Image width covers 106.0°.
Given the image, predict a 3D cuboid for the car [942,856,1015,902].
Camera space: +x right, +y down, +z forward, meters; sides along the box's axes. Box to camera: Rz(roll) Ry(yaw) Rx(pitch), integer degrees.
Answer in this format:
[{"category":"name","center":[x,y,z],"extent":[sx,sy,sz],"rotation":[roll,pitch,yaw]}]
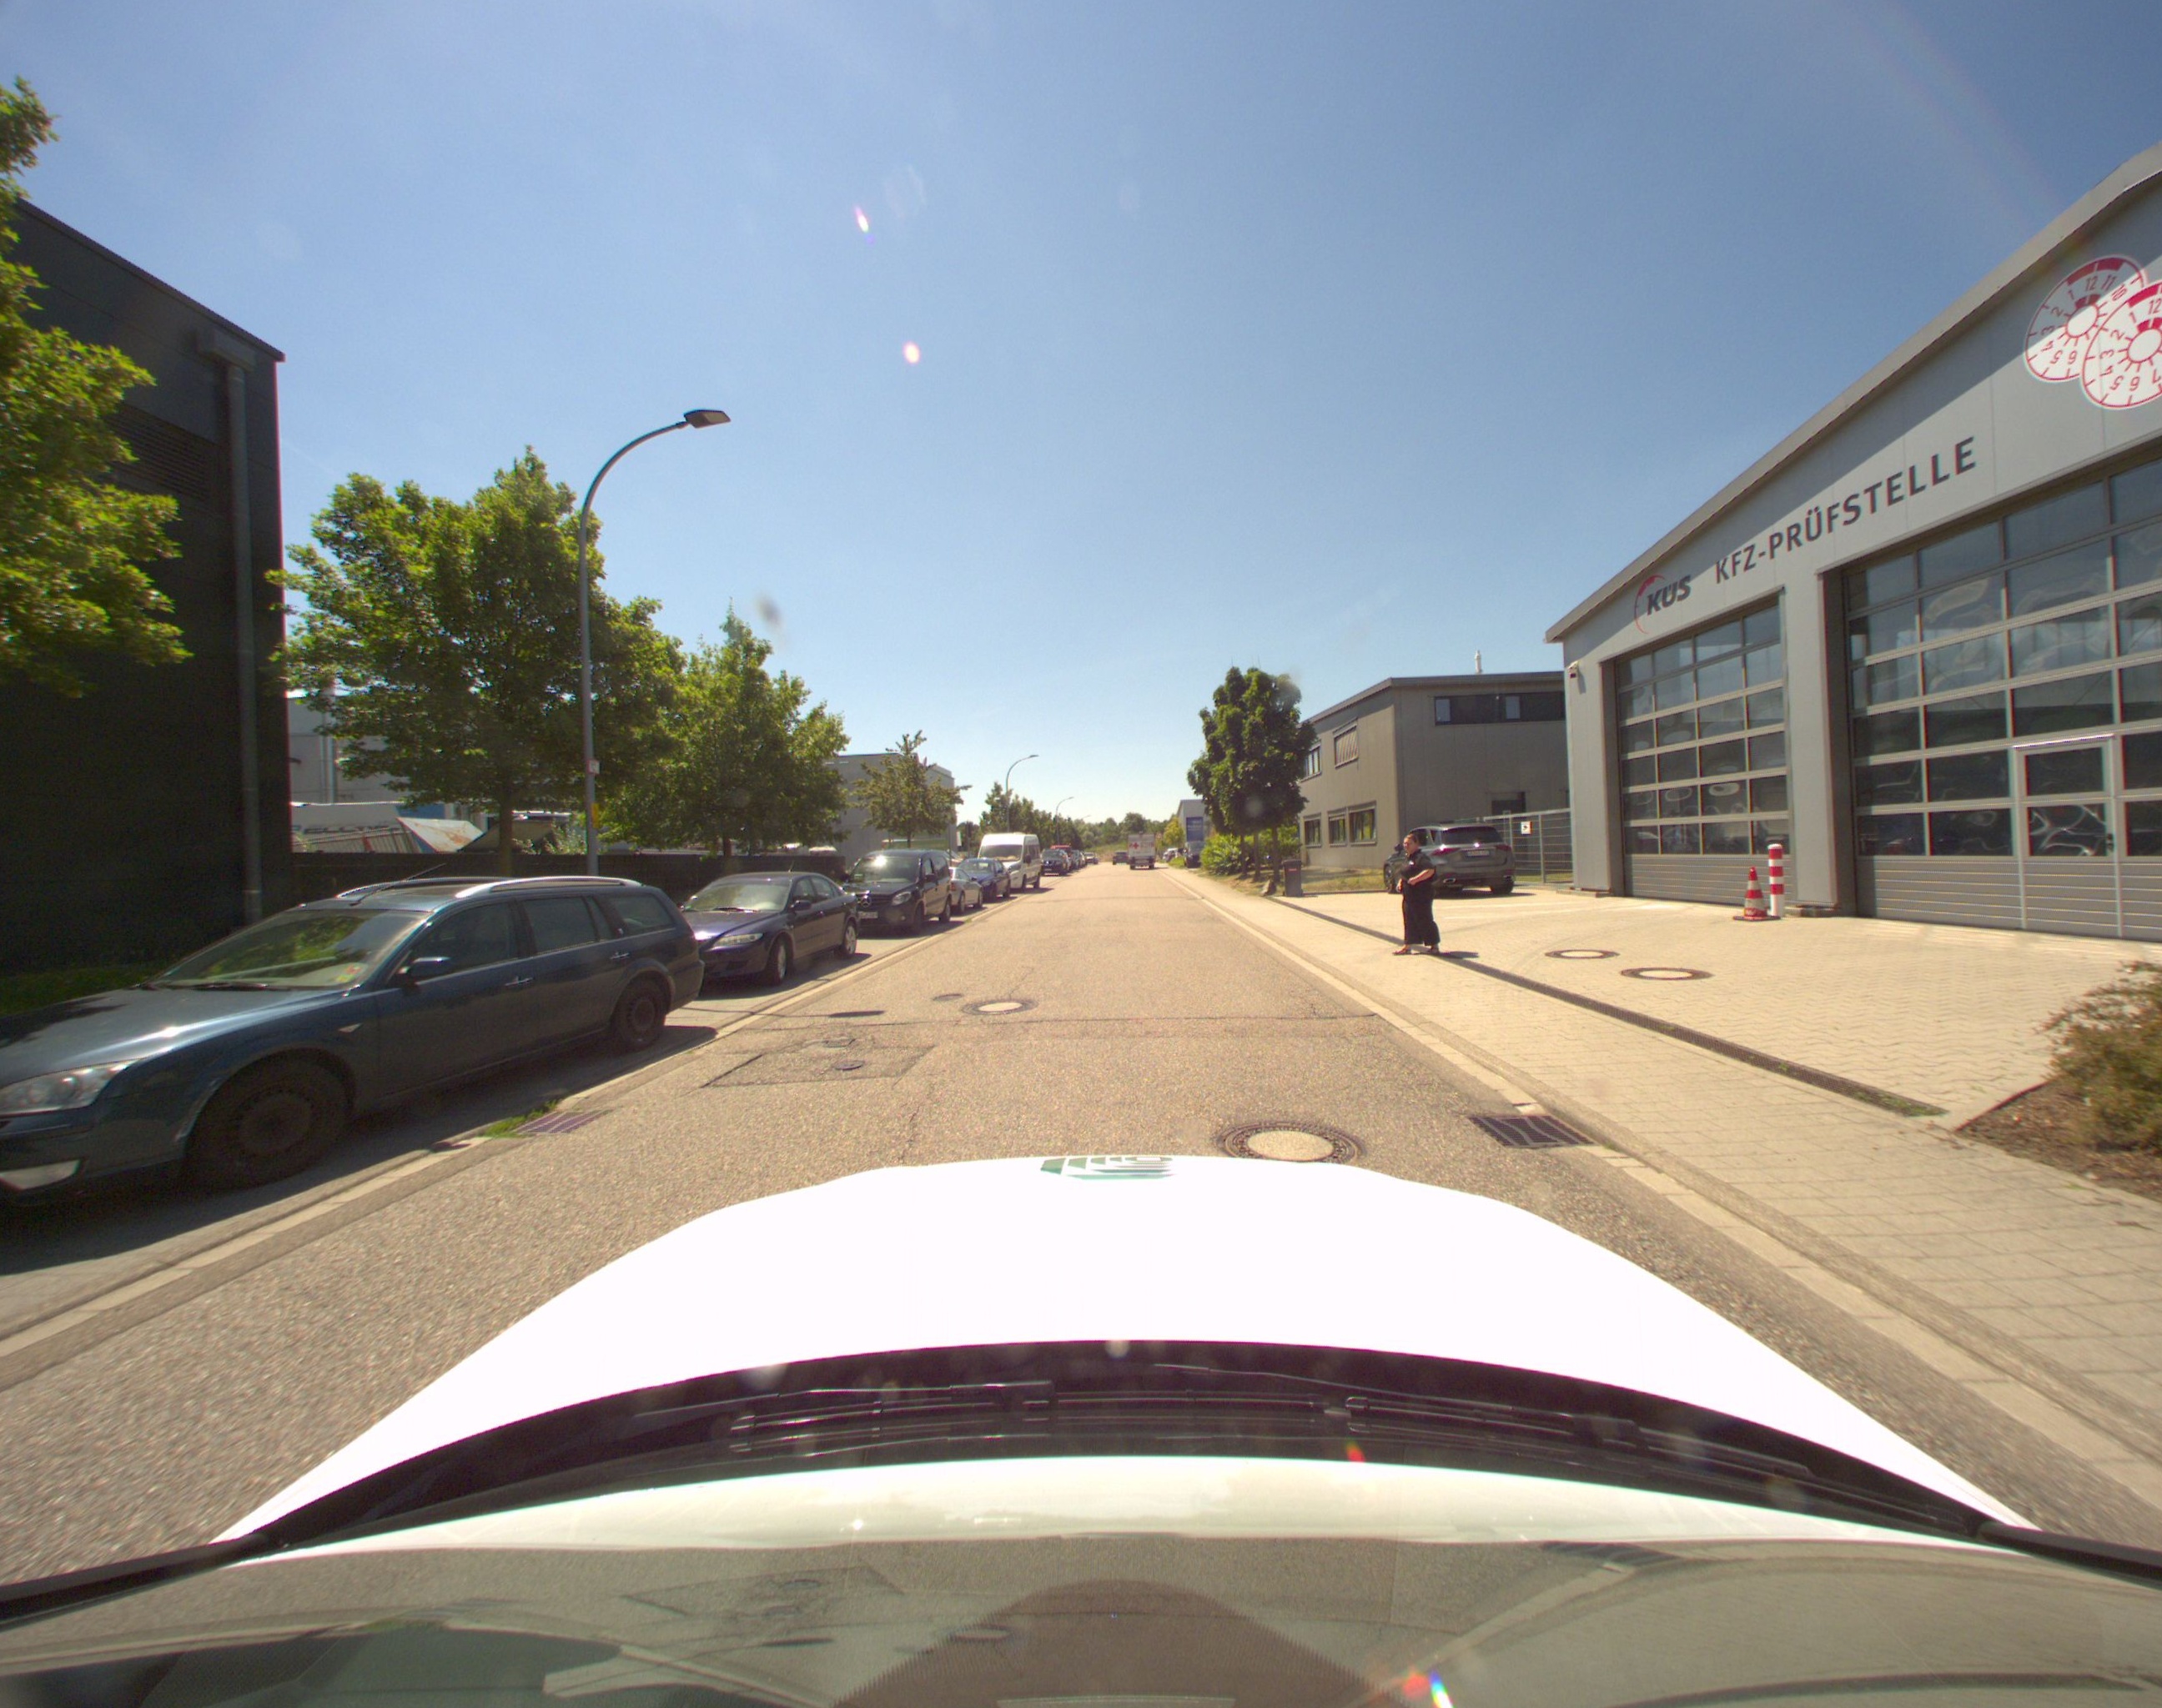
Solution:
[{"category":"car","center":[-3.499,0.824,28.552],"extent":[1.792,1.449,4.255],"rotation":[-1,0,2]}]

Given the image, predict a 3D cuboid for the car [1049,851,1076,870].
[{"category":"car","center":[-1.519,0.550,68.455],"extent":[1.791,1.487,4.258],"rotation":[-1,0,5]}]

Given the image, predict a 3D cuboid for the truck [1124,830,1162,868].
[{"category":"truck","center":[5.018,-0.394,66.633],"extent":[2.920,2.974,6.425],"rotation":[0,0,3]}]

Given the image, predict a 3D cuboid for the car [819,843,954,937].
[{"category":"car","center":[-4.146,0.710,18.085],"extent":[1.792,1.814,4.255],"rotation":[-1,0,2]}]

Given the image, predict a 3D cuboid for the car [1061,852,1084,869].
[{"category":"car","center":[-0.817,0.589,78.443],"extent":[1.791,1.487,4.258],"rotation":[-1,0,5]}]

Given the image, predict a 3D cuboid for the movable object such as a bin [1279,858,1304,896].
[{"category":"movable object such as a bin","center":[6.023,0.647,23.361],"extent":[0.529,1.052,0.846],"rotation":[-2,-1,5]}]

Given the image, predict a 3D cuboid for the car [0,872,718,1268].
[{"category":"car","center":[-4.742,0.934,5.668],"extent":[1.789,1.476,4.648],"rotation":[-1,0,8]}]

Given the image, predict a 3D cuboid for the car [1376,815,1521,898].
[{"category":"car","center":[9.125,0.087,20.720],"extent":[1.776,1.783,4.912],"rotation":[-3,-1,5]}]

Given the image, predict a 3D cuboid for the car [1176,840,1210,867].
[{"category":"car","center":[8.197,-0.023,59.936],"extent":[1.987,1.803,4.140],"rotation":[-2,0,1]}]

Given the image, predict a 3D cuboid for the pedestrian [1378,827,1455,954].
[{"category":"pedestrian","center":[4.501,0.478,10.953],"extent":[0.500,1.613,0.711],"rotation":[-6,-1,-13]}]

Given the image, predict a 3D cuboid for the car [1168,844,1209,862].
[{"category":"car","center":[10.750,-0.104,81.509],"extent":[3.862,1.750,1.752],"rotation":[0,0,0]}]

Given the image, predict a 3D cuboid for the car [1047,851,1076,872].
[{"category":"car","center":[-1.484,0.560,63.208],"extent":[1.791,1.487,4.258],"rotation":[-1,0,5]}]

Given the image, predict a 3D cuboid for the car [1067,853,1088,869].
[{"category":"car","center":[-0.335,0.678,83.886],"extent":[1.791,1.487,4.258],"rotation":[-1,0,5]}]

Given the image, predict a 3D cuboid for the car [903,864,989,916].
[{"category":"car","center":[-3.761,0.975,23.313],"extent":[1.471,1.297,3.904],"rotation":[-1,0,5]}]

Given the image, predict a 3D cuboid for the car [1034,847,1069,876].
[{"category":"car","center":[-1.952,0.460,55.247],"extent":[1.791,1.848,4.258],"rotation":[-1,0,5]}]

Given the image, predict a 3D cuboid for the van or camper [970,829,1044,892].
[{"category":"van or camper","center":[-3.073,0.272,35.341],"extent":[2.068,2.483,6.140],"rotation":[0,0,5]}]

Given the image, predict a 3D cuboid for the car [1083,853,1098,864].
[{"category":"car","center":[1.372,0.643,112.822],"extent":[1.791,1.487,4.258],"rotation":[-1,0,5]}]

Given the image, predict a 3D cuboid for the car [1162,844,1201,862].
[{"category":"car","center":[10.398,-0.097,84.190],"extent":[3.862,1.750,1.752],"rotation":[0,0,0]}]

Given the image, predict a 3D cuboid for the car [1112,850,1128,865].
[{"category":"car","center":[4.462,0.403,92.180],"extent":[1.782,1.623,3.812],"rotation":[0,0,3]}]

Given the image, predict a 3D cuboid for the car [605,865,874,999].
[{"category":"car","center":[-4.598,0.951,11.866],"extent":[1.792,1.476,4.591],"rotation":[-1,0,2]}]

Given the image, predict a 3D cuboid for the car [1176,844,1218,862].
[{"category":"car","center":[11.280,-0.109,79.314],"extent":[3.862,1.750,1.752],"rotation":[0,0,0]}]
